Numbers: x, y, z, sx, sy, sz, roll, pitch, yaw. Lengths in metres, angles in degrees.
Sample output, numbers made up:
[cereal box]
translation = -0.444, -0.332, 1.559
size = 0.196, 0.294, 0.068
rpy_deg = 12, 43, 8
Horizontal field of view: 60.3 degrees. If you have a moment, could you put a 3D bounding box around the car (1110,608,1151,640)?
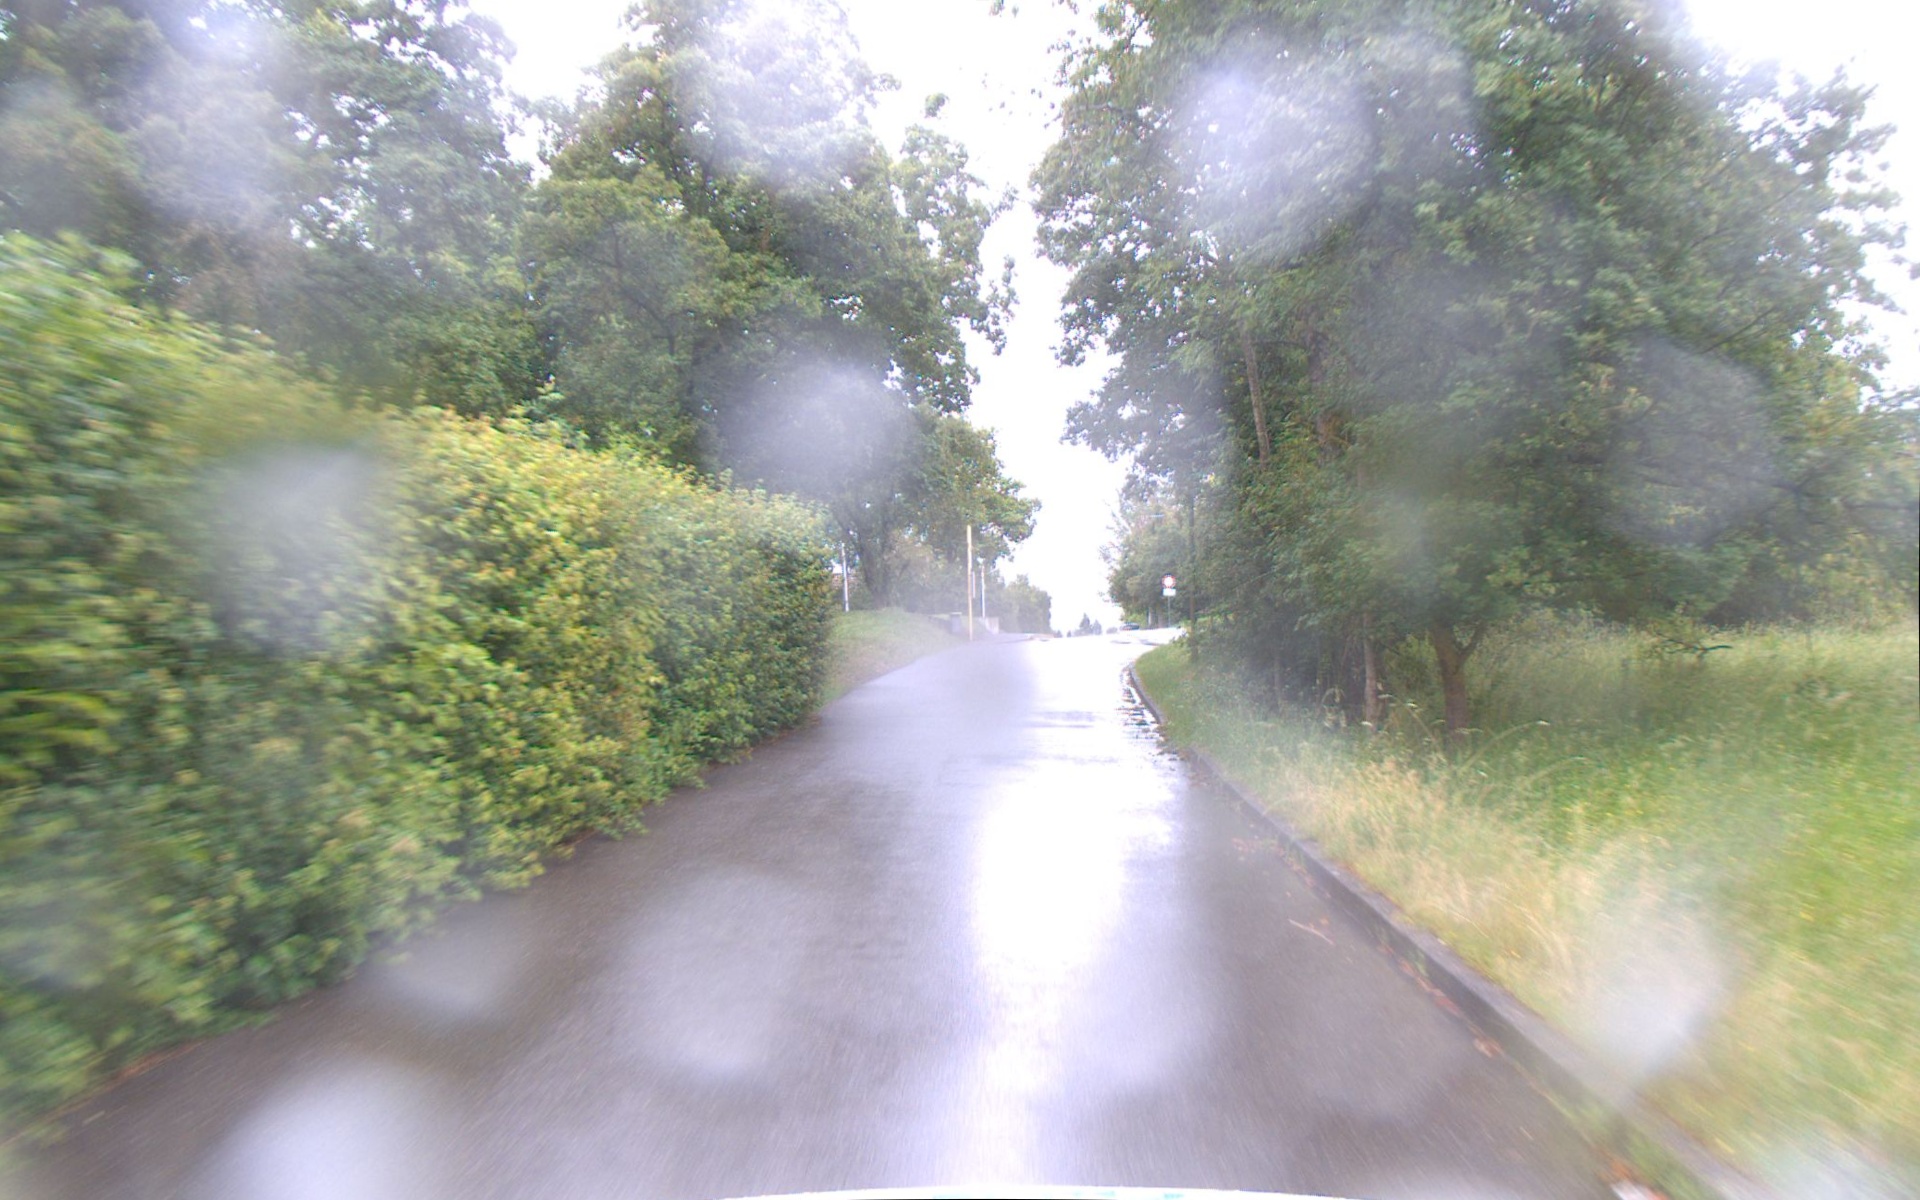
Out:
[car]
translation = 9.839, 1.393, 95.229
size = 1.951, 1.611, 4.002
rpy_deg = -2, -4, 10
